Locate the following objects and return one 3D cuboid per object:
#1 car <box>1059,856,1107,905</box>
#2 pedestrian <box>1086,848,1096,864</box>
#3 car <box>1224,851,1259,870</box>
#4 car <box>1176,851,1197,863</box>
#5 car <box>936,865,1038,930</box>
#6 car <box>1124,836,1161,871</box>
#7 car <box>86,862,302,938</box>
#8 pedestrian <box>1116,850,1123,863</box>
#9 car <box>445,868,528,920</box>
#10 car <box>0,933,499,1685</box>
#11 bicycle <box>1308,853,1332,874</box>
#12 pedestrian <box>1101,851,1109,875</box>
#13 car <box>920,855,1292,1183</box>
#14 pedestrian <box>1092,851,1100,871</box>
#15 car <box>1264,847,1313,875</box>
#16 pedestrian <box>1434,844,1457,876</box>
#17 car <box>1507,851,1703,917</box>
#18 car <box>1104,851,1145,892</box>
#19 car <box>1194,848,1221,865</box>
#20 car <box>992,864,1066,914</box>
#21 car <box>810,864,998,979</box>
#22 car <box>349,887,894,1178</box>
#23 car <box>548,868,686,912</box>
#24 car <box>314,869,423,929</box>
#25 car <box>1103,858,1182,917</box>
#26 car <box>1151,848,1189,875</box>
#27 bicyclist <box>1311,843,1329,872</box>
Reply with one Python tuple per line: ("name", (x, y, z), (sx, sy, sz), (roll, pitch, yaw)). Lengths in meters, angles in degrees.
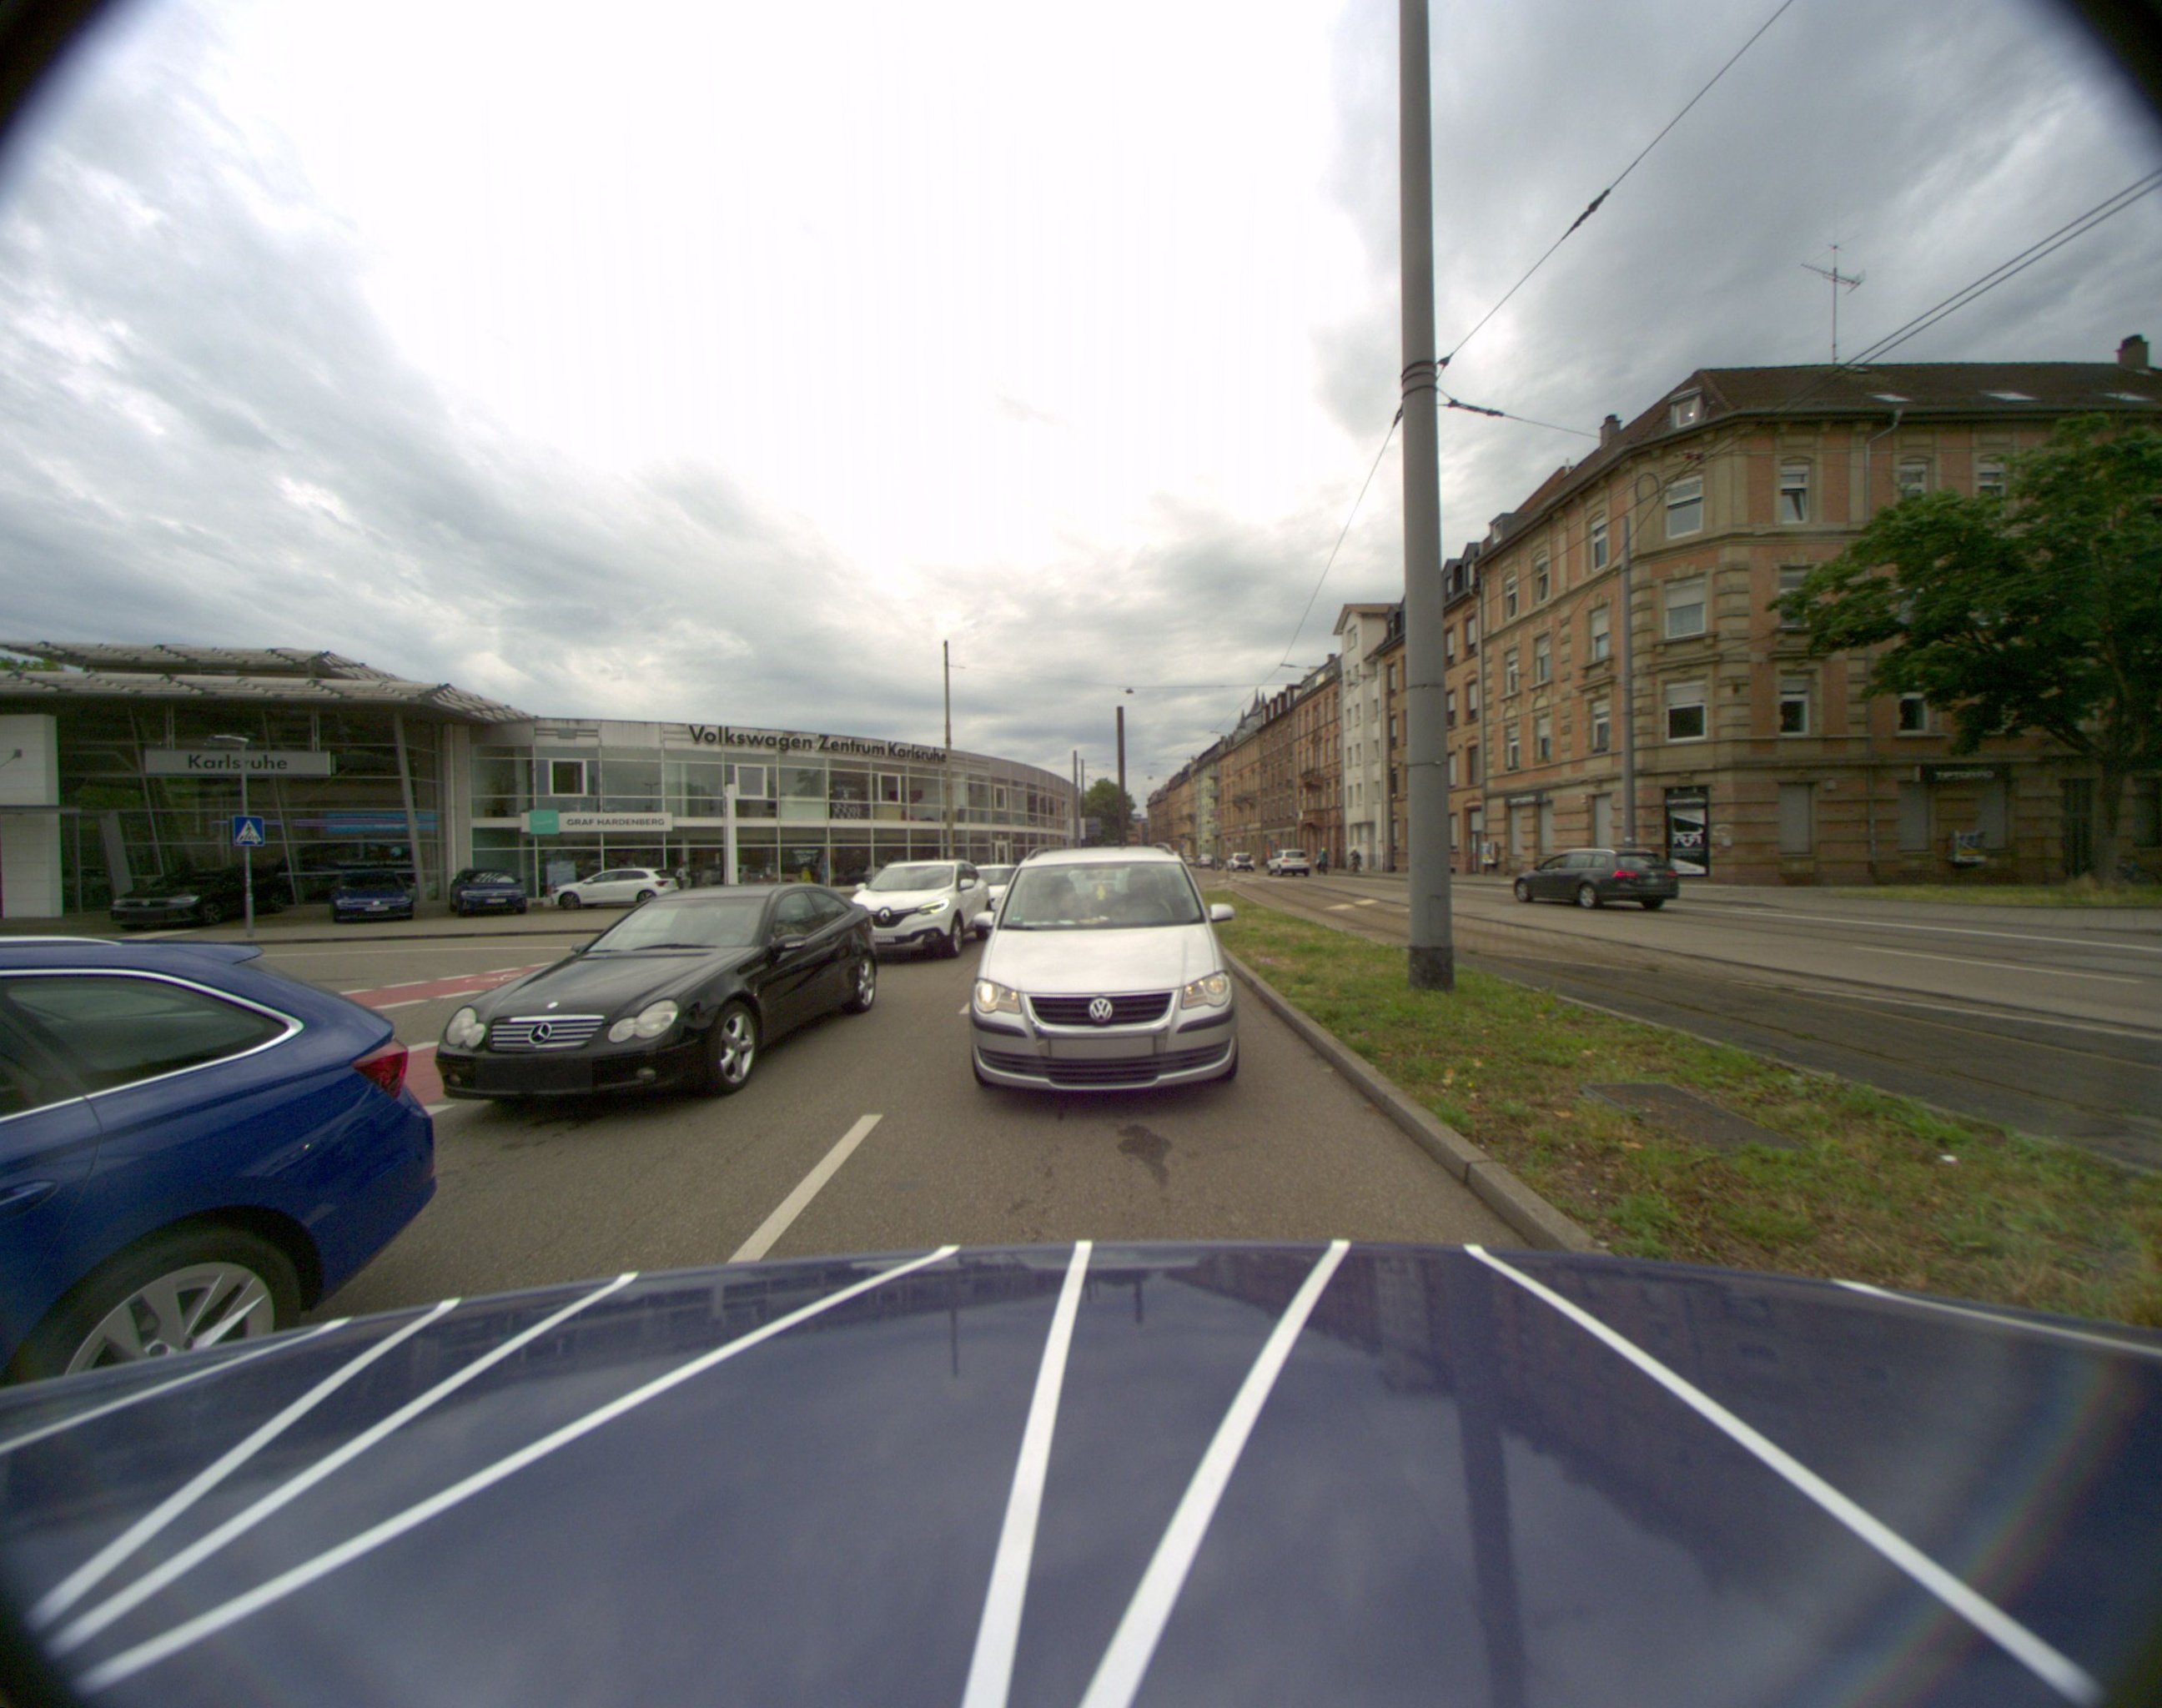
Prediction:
("car", (0.127, 1.131, 34.167), (1.998, 2.002, 4.000), (-1, 0, 1))
("pedestrian", (1.291, 0.243, 96.557), (1.177, 2.002, 1.032), (-1, 1, 1))
("car", (12.927, 0.493, 61.422), (1.815, 1.423, 4.017), (-1, 0, -1))
("car", (13.107, 0.363, 94.763), (1.819, 1.500, 4.574), (-1, 0, -1))
("car", (-2.317, 1.053, 19.849), (1.907, 1.428, 3.973), (-1, 0, 4))
("car", (3.725, -0.050, 46.813), (1.998, 2.002, 4.000), (-1, 0, 1))
("car", (-26.496, 1.282, 23.007), (1.959, 1.635, 4.664), (-1, 5, -17))
("pedestrian", (5.850, 0.396, 116.388), (1.004, 2.002, 0.908), (-1, 1, 1))
("car", (-19.992, 1.275, 25.496), (1.795, 1.552, 4.023), (-2, 1, -44))
("car", (-3.183, 1.057, 0.544), (1.770, 1.428, 4.757), (-2, 0, 1))
("bicycle", (15.612, 0.616, 49.708), (0.798, 1.285, 2.411), (-1, 1, 1))
("pedestrian", (1.920, 0.713, 61.208), (0.652, 1.904, 0.602), (-1, 1, 1))
("car", (0.185, 0.860, 6.434), (1.863, 1.609, 5.062), (-2, 0, 1))
("pedestrian", (1.321, 0.601, 66.047), (0.663, 1.671, 0.650), (-1, 1, 1))
("car", (13.008, 0.420, 47.824), (1.835, 1.635, 4.230), (-1, 0, -1))
("pedestrian", (19.024, 0.307, 39.653), (0.812, 1.666, 0.798), (-1, 1, -3))
("car", (13.142, 0.665, 19.466), (1.888, 1.461, 4.463), (-1, 0, -1))
("car", (2.215, 0.880, 39.765), (1.998, 2.002, 4.000), (-1, 0, 1))
("car", (12.947, 0.261, 78.013), (1.896, 1.693, 4.232), (-1, 0, -1))
("car", (-1.620, 1.081, 25.081), (1.907, 1.428, 3.973), (-1, 0, 4))
("car", (-2.789, 1.005, 13.027), (1.982, 1.550, 4.146), (-1, 0, 4))
("car", (-3.126, 1.101, 6.462), (1.769, 1.362, 4.422), (-2, 0, 2))
("car", (-16.898, 1.279, 27.866), (3.907, 1.433, 1.731), (-1, 1, -9))
("car", (-22.245, 1.313, 23.899), (1.961, 1.517, 4.218), (-1, 2, -36))
("car", (1.738, 0.860, 21.426), (1.972, 1.447, 4.194), (-1, 0, 5))
("car", (6.263, 0.498, 53.805), (2.372, 1.744, 5.130), (-1, 0, 4))
("bicyclist", (15.602, 0.214, 49.586), (0.824, 1.856, 0.924), (-1, 1, 1))
